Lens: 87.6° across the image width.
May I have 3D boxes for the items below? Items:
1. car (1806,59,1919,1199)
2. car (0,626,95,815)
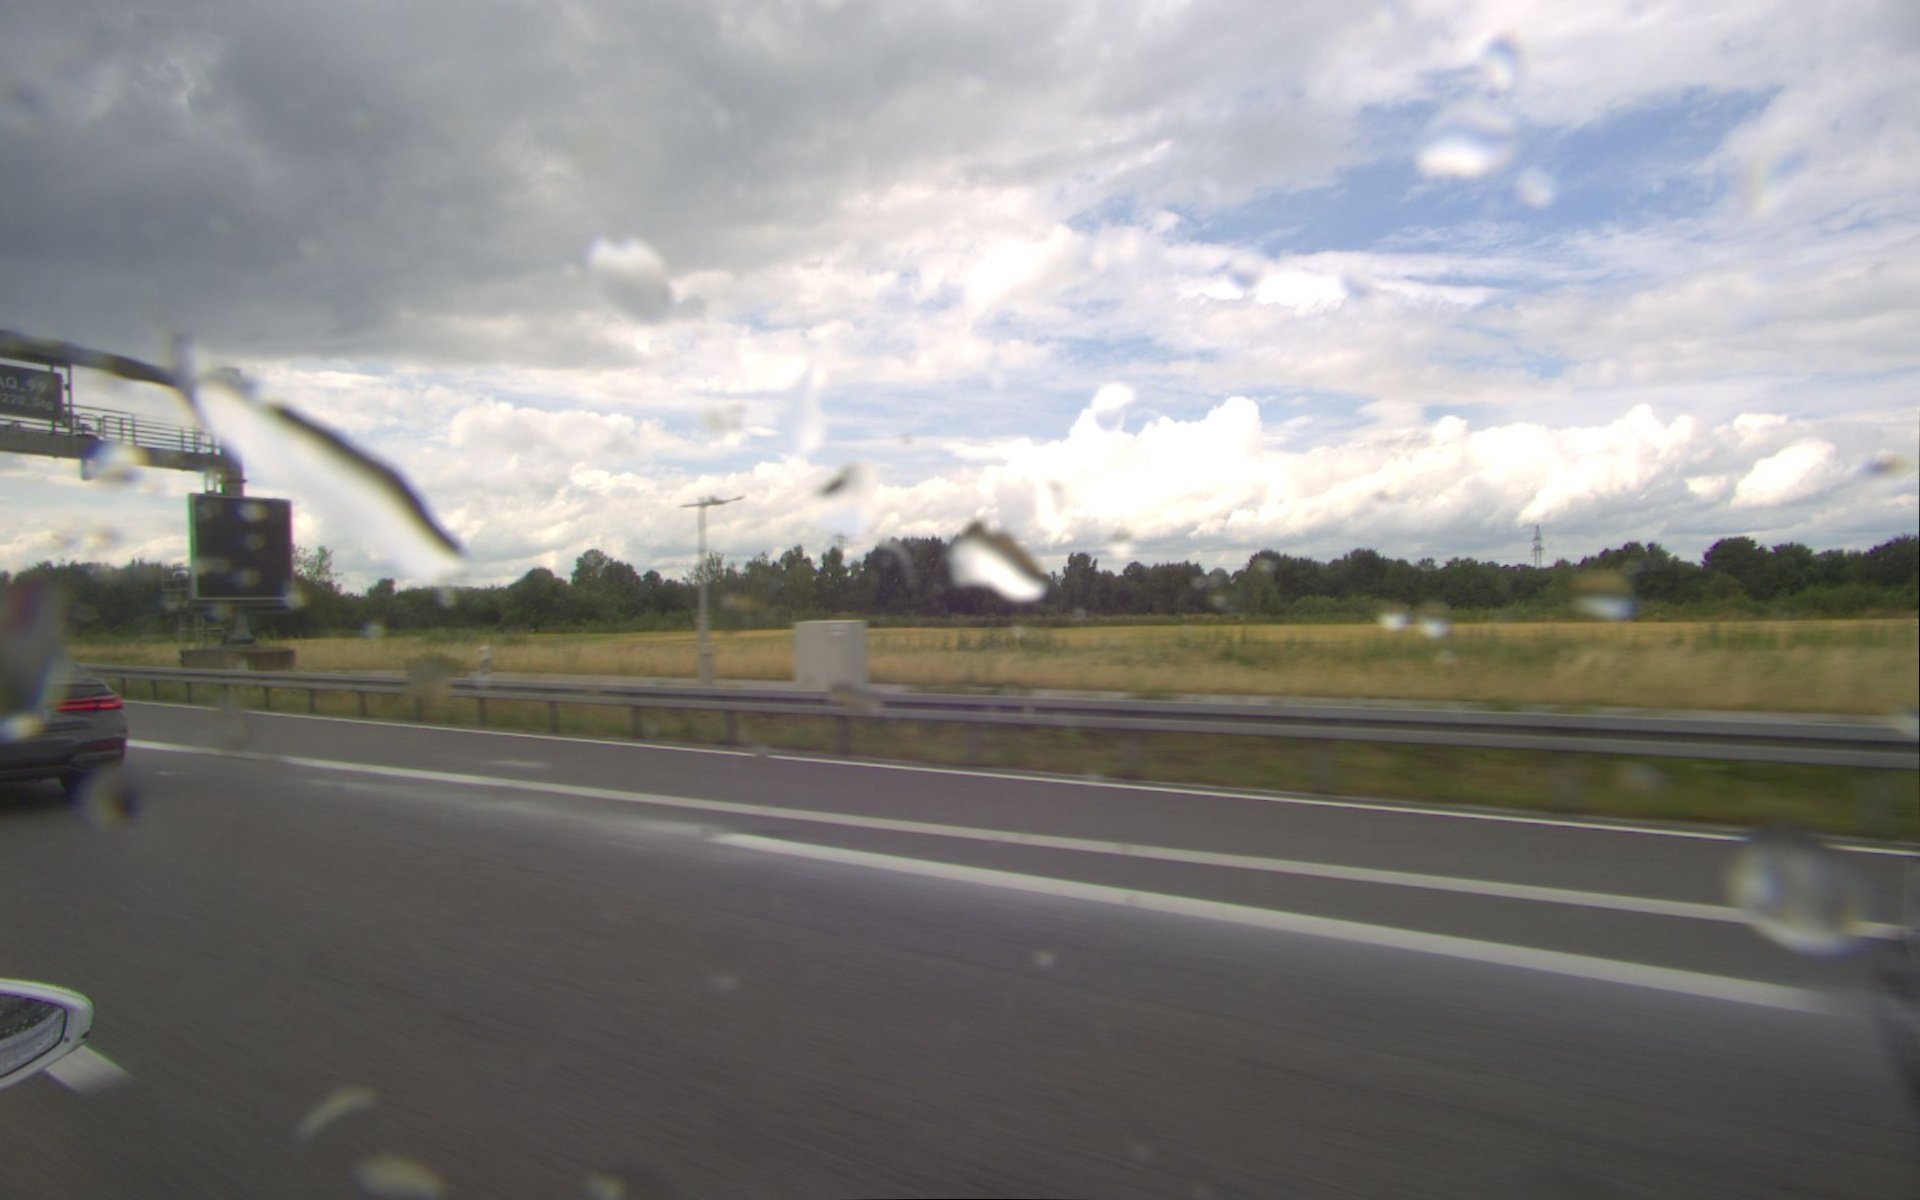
[{"bbox_3d":[4.362,0.097,0.783,5.371,2.533,2.135,-1,-1,33],"label":"car"},{"bbox_3d":[-9.874,1.004,8.985,4.708,1.510,1.936,-1,-2,32],"label":"car"}]
